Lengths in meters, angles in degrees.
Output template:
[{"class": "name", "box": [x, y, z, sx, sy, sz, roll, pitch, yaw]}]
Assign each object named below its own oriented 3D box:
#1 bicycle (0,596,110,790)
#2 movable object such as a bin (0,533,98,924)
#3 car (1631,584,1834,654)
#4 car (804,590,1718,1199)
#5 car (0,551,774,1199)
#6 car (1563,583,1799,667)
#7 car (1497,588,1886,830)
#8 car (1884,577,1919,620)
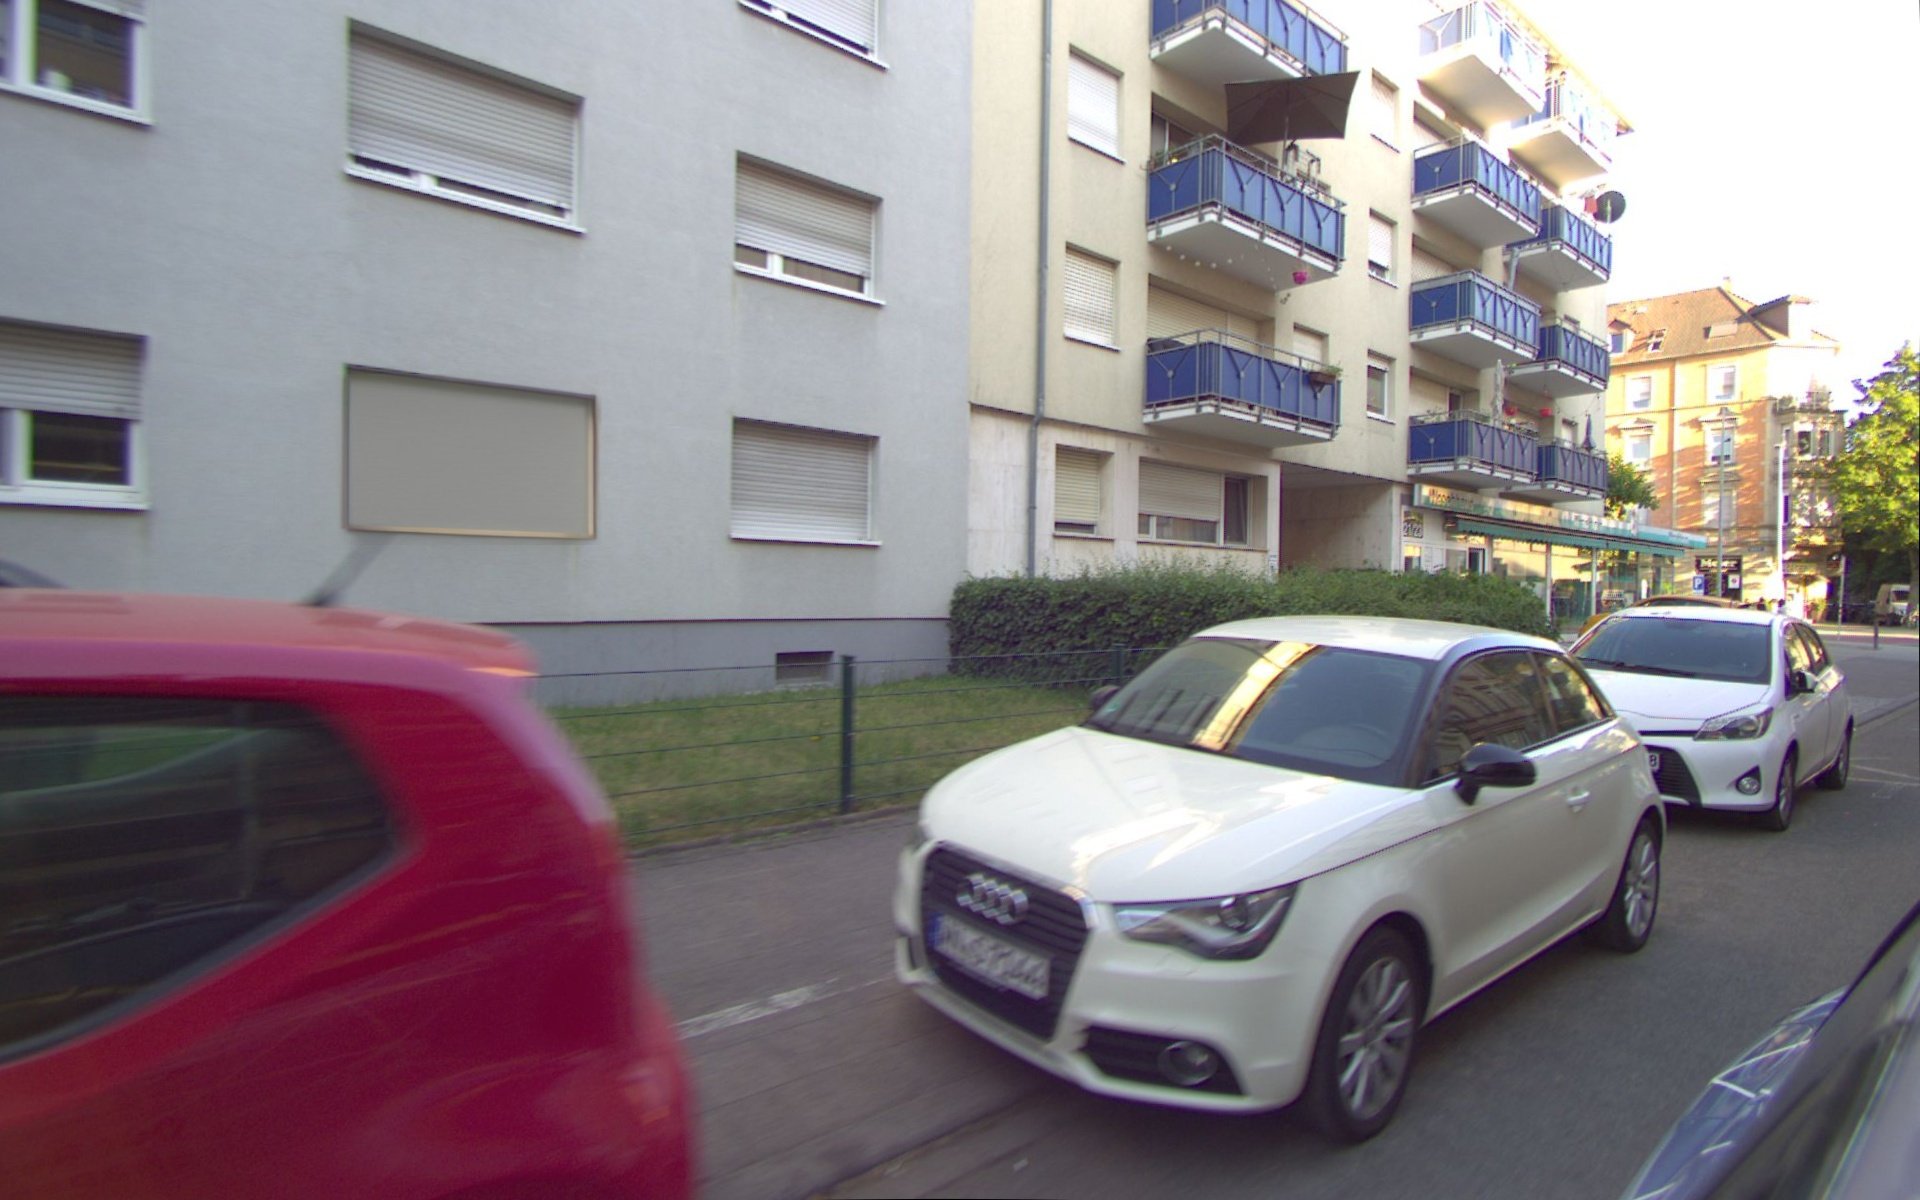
[{"class": "bicycle", "box": [-6.065, 0.549, 5.828, 0.599, 1.104, 1.716, 3, 2, 39]}, {"class": "movable object such as a bin", "box": [-4.225, 0.453, 4.021, 1.202, 1.454, 1.287, 0, 2, -41]}, {"class": "car", "box": [20.506, 0.441, 26.969, 1.966, 1.584, 3.993, 0, 3, -42]}, {"class": "car", "box": [1.552, 0.721, 4.189, 4.063, 1.437, 1.680, 0, 2, -41]}, {"class": "car", "box": [-2.223, 0.679, 1.158, 3.588, 1.501, 1.680, 0, 2, -41]}, {"class": "car", "box": [16.192, 0.490, 22.875, 1.966, 1.584, 3.993, 0, 3, -42]}, {"class": "car", "box": [6.092, 0.667, 8.238, 4.064, 1.437, 1.680, 0, 2, -41]}, {"class": "car", "box": [54.454, -0.070, 57.465, 2.149, 2.311, 6.129, 3, 2, 35]}]
